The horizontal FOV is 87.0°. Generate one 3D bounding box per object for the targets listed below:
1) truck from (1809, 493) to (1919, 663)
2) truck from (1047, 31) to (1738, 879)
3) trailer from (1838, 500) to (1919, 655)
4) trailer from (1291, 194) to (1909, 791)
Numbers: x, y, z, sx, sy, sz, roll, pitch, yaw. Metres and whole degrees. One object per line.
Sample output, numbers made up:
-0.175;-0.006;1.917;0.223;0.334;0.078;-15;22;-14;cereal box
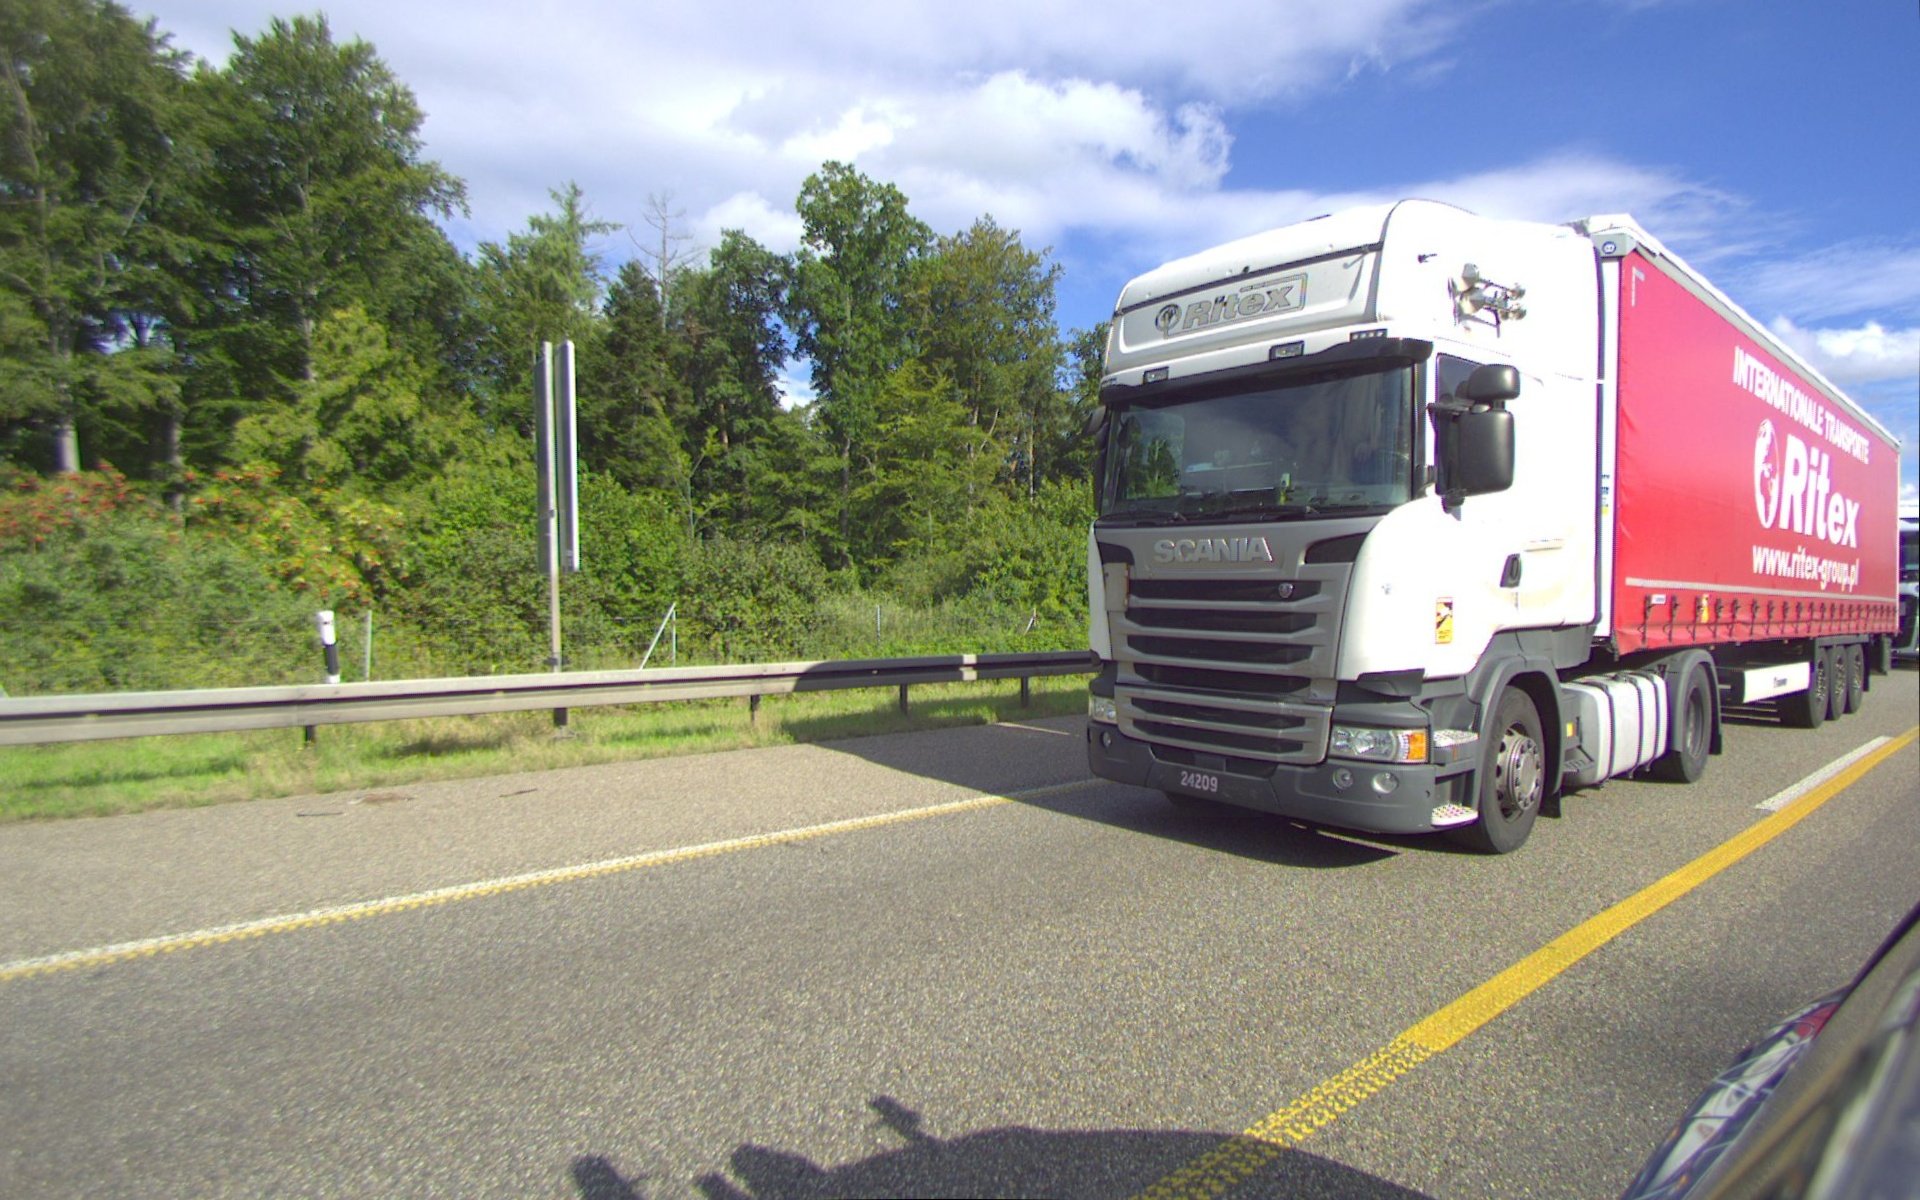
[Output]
23.374;-0.517;25.139;5.686;3.828;2.500;0;0;-39;truck
3.561;-0.699;7.658;5.611;4.010;2.672;0;0;-41;truck
28.084;-0.564;29.063;11.919;3.822;2.476;0;0;-40;trailer
8.723;-0.738;12.190;13.183;4.019;2.704;0;0;-41;trailer
